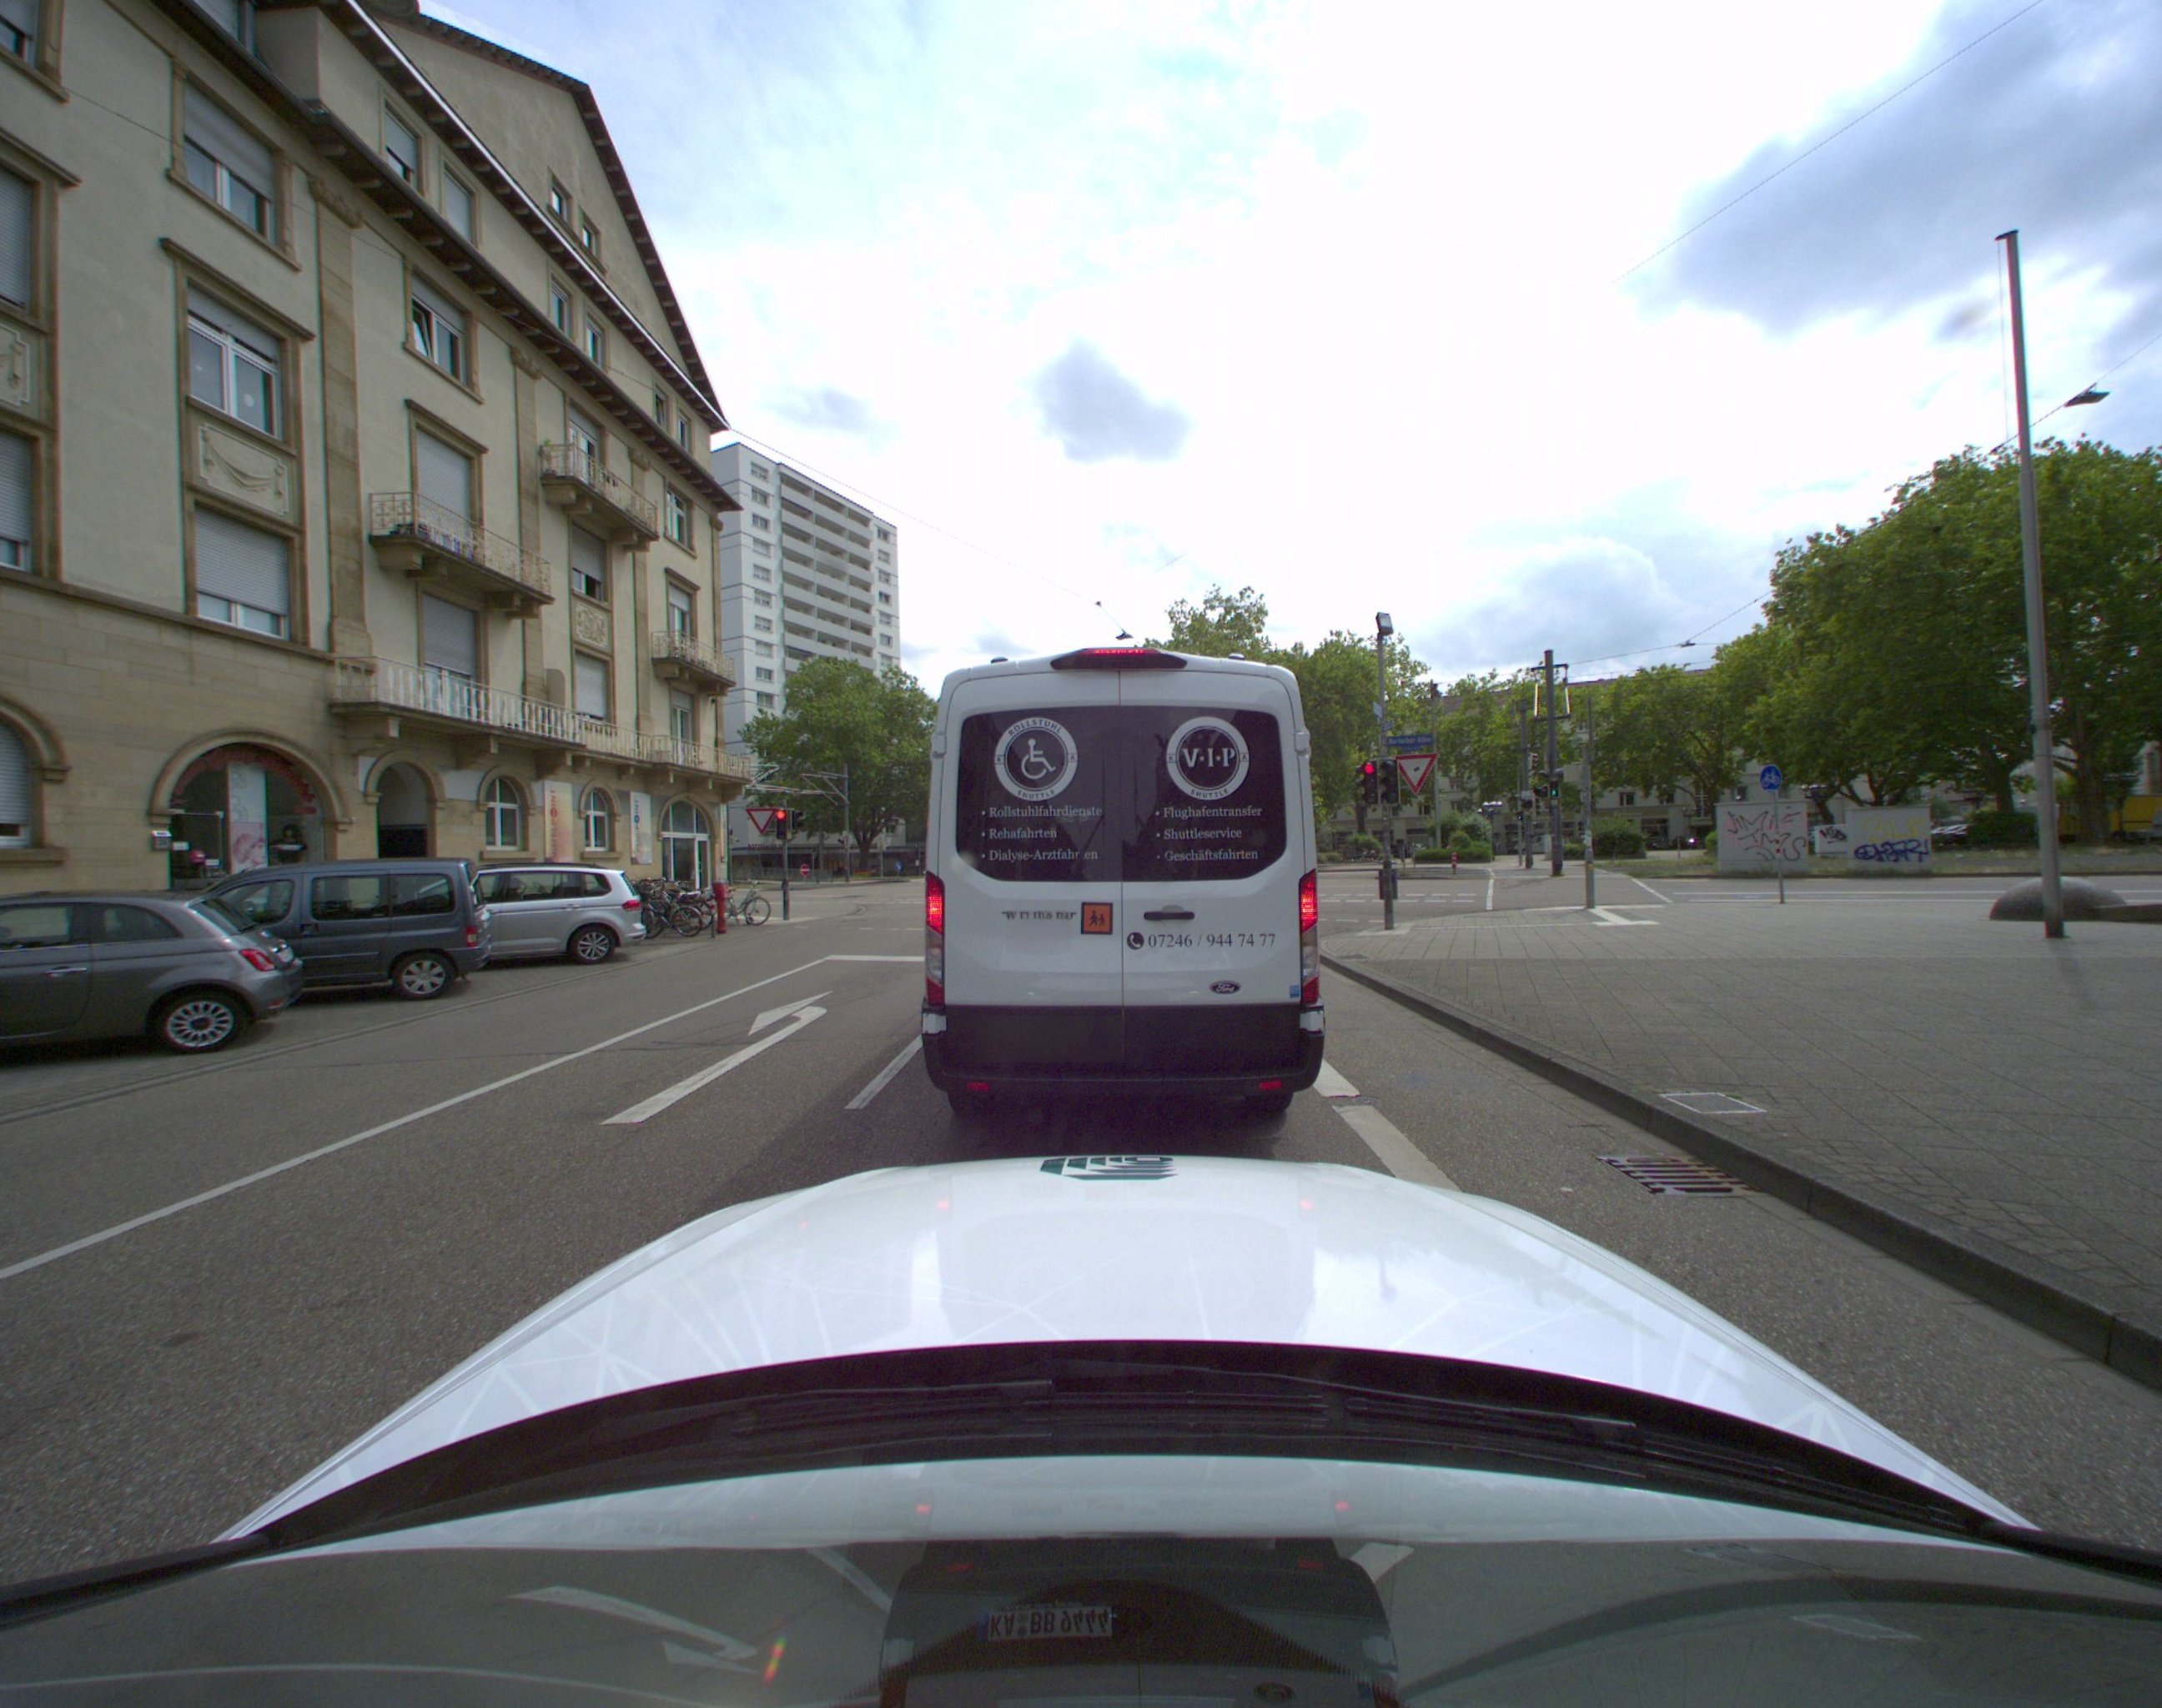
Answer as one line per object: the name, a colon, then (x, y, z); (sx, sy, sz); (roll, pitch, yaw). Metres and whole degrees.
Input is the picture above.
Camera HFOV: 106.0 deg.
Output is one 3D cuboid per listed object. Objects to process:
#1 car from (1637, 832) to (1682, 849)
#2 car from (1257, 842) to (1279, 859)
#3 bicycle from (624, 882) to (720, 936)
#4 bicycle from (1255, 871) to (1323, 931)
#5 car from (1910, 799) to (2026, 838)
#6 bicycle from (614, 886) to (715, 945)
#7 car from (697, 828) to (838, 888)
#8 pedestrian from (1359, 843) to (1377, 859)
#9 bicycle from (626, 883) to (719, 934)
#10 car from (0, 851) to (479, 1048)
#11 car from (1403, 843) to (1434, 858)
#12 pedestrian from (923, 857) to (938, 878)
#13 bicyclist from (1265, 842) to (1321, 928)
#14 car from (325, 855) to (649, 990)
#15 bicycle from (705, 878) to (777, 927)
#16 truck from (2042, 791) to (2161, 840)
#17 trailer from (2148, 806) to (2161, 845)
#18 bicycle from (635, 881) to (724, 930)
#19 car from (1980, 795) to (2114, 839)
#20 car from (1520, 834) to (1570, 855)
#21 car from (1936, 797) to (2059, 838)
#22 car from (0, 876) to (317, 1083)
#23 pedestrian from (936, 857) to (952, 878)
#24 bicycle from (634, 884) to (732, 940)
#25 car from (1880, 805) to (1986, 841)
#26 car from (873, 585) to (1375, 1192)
car: (55.748, -1.252, 78.580); (1.757, 1.503, 4.008); (-2, 0, 7)
car: (21.651, -0.390, 94.257); (1.983, 1.930, 4.008); (-2, 0, 7)
bicycle: (-9.156, 1.214, 18.287); (1.807, 1.166, 0.593); (0, 0, -6)
bicycle: (4.238, 0.916, 16.479); (0.894, 1.075, 1.982); (-2, 0, 27)
car: (66.663, -2.640, 61.355); (5.271, 2.585, 2.512); (-2, -1, 24)
bicycle: (-8.622, 1.272, 16.864); (1.799, 1.120, 0.595); (-2, 0, 8)
car: (-22.188, 0.307, 57.569); (9.793, 3.915, 3.476); (-2, 0, 26)
pedestrian: (24.695, -0.260, 70.002); (1.086, 1.236, 1.443); (-4, -1, 6)
bicycle: (-9.463, 1.251, 18.907); (1.807, 1.120, 0.593); (0, 0, -6)
car: (-9.941, 0.969, 10.006); (4.031, 1.878, 1.776); (-2, 0, -37)
car: (36.257, -0.410, 87.515); (1.983, 1.503, 4.008); (-2, 0, 7)
pedestrian: (-11.541, 1.013, 62.529); (0.800, 1.572, 0.727); (-2, 0, 18)
bicyclist: (4.299, 0.624, 16.504); (0.895, 1.683, 0.761); (-2, 0, 27)
car: (-9.509, 0.981, 13.358); (4.031, 1.773, 1.776); (-2, 0, -37)
bicycle: (-8.646, 1.214, 20.703); (1.859, 1.167, 0.500); (0, 0, 22)
truck: (58.650, -2.126, 46.052); (3.042, 2.577, 6.549); (-2, 0, 25)
trailer: (55.416, -1.464, 39.271); (4.381, 1.925, 1.865); (-2, 0, 26)
bicycle: (-9.647, 1.227, 19.609); (1.807, 1.120, 0.593); (0, 0, -6)
car: (64.410, -2.444, 54.460); (5.271, 2.585, 2.192); (-2, -1, 24)
car: (44.220, -0.881, 77.652); (3.950, 1.883, 1.868); (-2, 0, 26)
car: (65.719, -2.576, 58.539); (5.271, 2.585, 2.512); (-2, -1, 24)
car: (-9.831, 1.116, 7.379); (4.031, 1.651, 1.776); (-2, 0, -37)
pedestrian: (-10.523, 1.033, 62.623); (0.922, 1.514, 0.727); (-2, 0, 18)
bicycle: (-8.554, 1.236, 17.535); (1.800, 1.120, 0.595); (2, 0, 5)
car: (68.908, -2.496, 66.008); (5.271, 2.585, 2.512); (-2, -1, 24)
car: (0.214, 0.122, 5.891); (2.174, 2.647, 4.629); (1, 1, 0)
